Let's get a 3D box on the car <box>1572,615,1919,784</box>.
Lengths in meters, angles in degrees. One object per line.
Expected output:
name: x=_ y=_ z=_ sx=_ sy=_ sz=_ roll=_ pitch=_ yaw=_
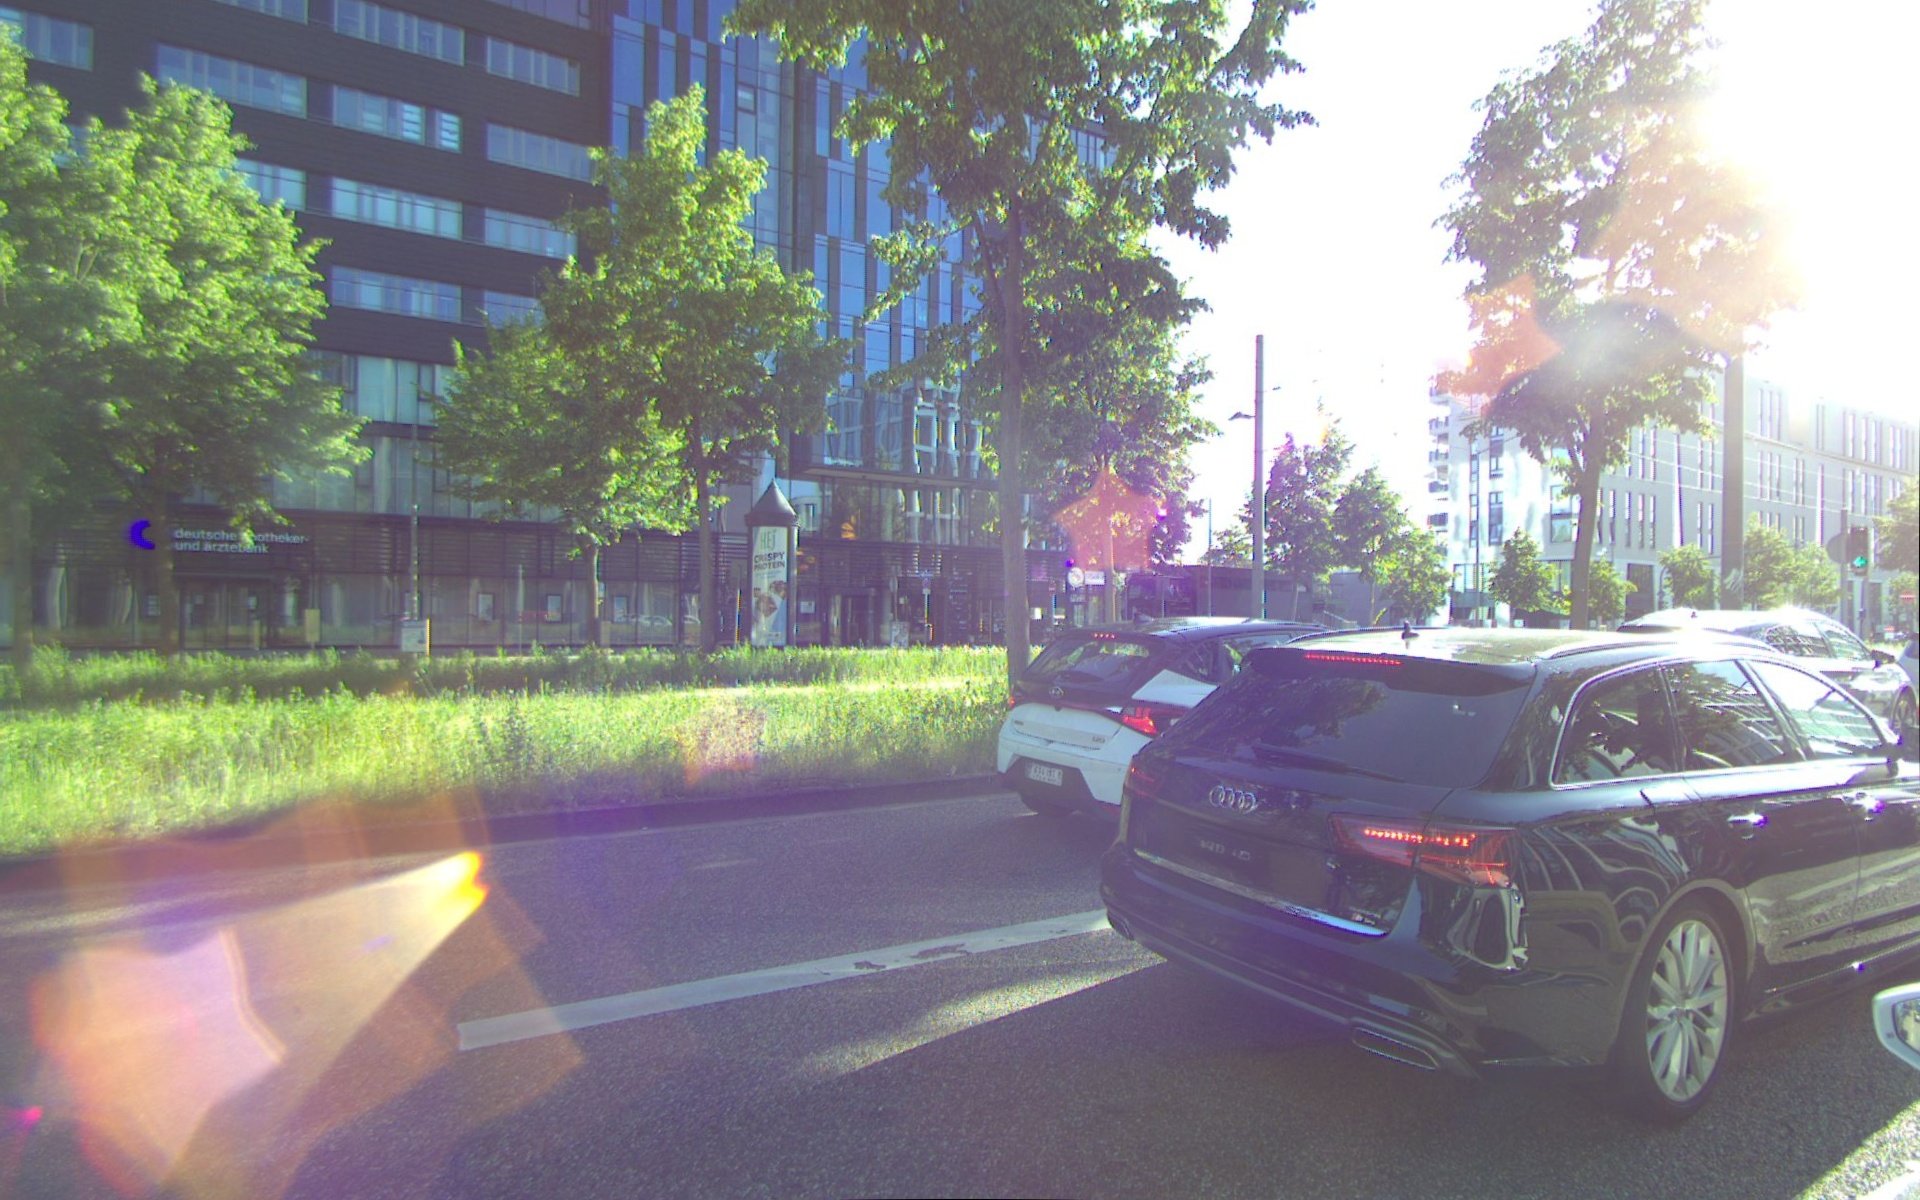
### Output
car: x=9.024 y=0.982 z=11.348 sx=4.519 sy=1.467 sz=1.788 roll=1 pitch=2 yaw=-33

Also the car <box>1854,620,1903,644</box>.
car: x=78.419 y=2.725 z=85.747 sx=3.953 sy=2.040 sz=1.984 roll=1 pitch=-1 yaw=-30

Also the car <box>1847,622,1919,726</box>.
car: x=16.304 y=1.182 z=16.205 sx=4.519 sy=1.503 sz=1.788 roll=1 pitch=2 yaw=-33

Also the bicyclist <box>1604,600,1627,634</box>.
bicyclist: x=40.412 y=1.042 z=61.936 sx=0.808 sy=2.120 sz=0.935 roll=1 pitch=-1 yaw=-31

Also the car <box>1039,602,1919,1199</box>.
car: x=2.881 y=0.811 z=4.419 sx=4.911 sy=1.504 sz=1.864 roll=1 pitch=-1 yaw=-32

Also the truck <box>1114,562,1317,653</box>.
truck: x=12.026 y=0.418 z=46.706 sx=10.094 sy=3.904 sz=2.877 roll=1 pitch=-1 yaw=-31

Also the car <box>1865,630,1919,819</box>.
car: x=9.532 y=1.002 z=8.317 sx=4.288 sy=1.445 sz=1.833 roll=1 pitch=-1 yaw=-30

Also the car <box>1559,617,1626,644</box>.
car: x=37.859 y=1.805 z=60.116 sx=3.953 sy=1.540 sz=1.756 roll=1 pitch=-1 yaw=-30

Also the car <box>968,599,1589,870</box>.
car: x=2.450 y=0.778 z=7.364 sx=4.515 sy=1.467 sz=1.790 roll=1 pitch=-1 yaw=-30

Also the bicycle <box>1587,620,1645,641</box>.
bicycle: x=40.397 y=1.856 z=61.916 sx=0.808 sy=1.206 sz=2.927 roll=1 pitch=-1 yaw=-30
